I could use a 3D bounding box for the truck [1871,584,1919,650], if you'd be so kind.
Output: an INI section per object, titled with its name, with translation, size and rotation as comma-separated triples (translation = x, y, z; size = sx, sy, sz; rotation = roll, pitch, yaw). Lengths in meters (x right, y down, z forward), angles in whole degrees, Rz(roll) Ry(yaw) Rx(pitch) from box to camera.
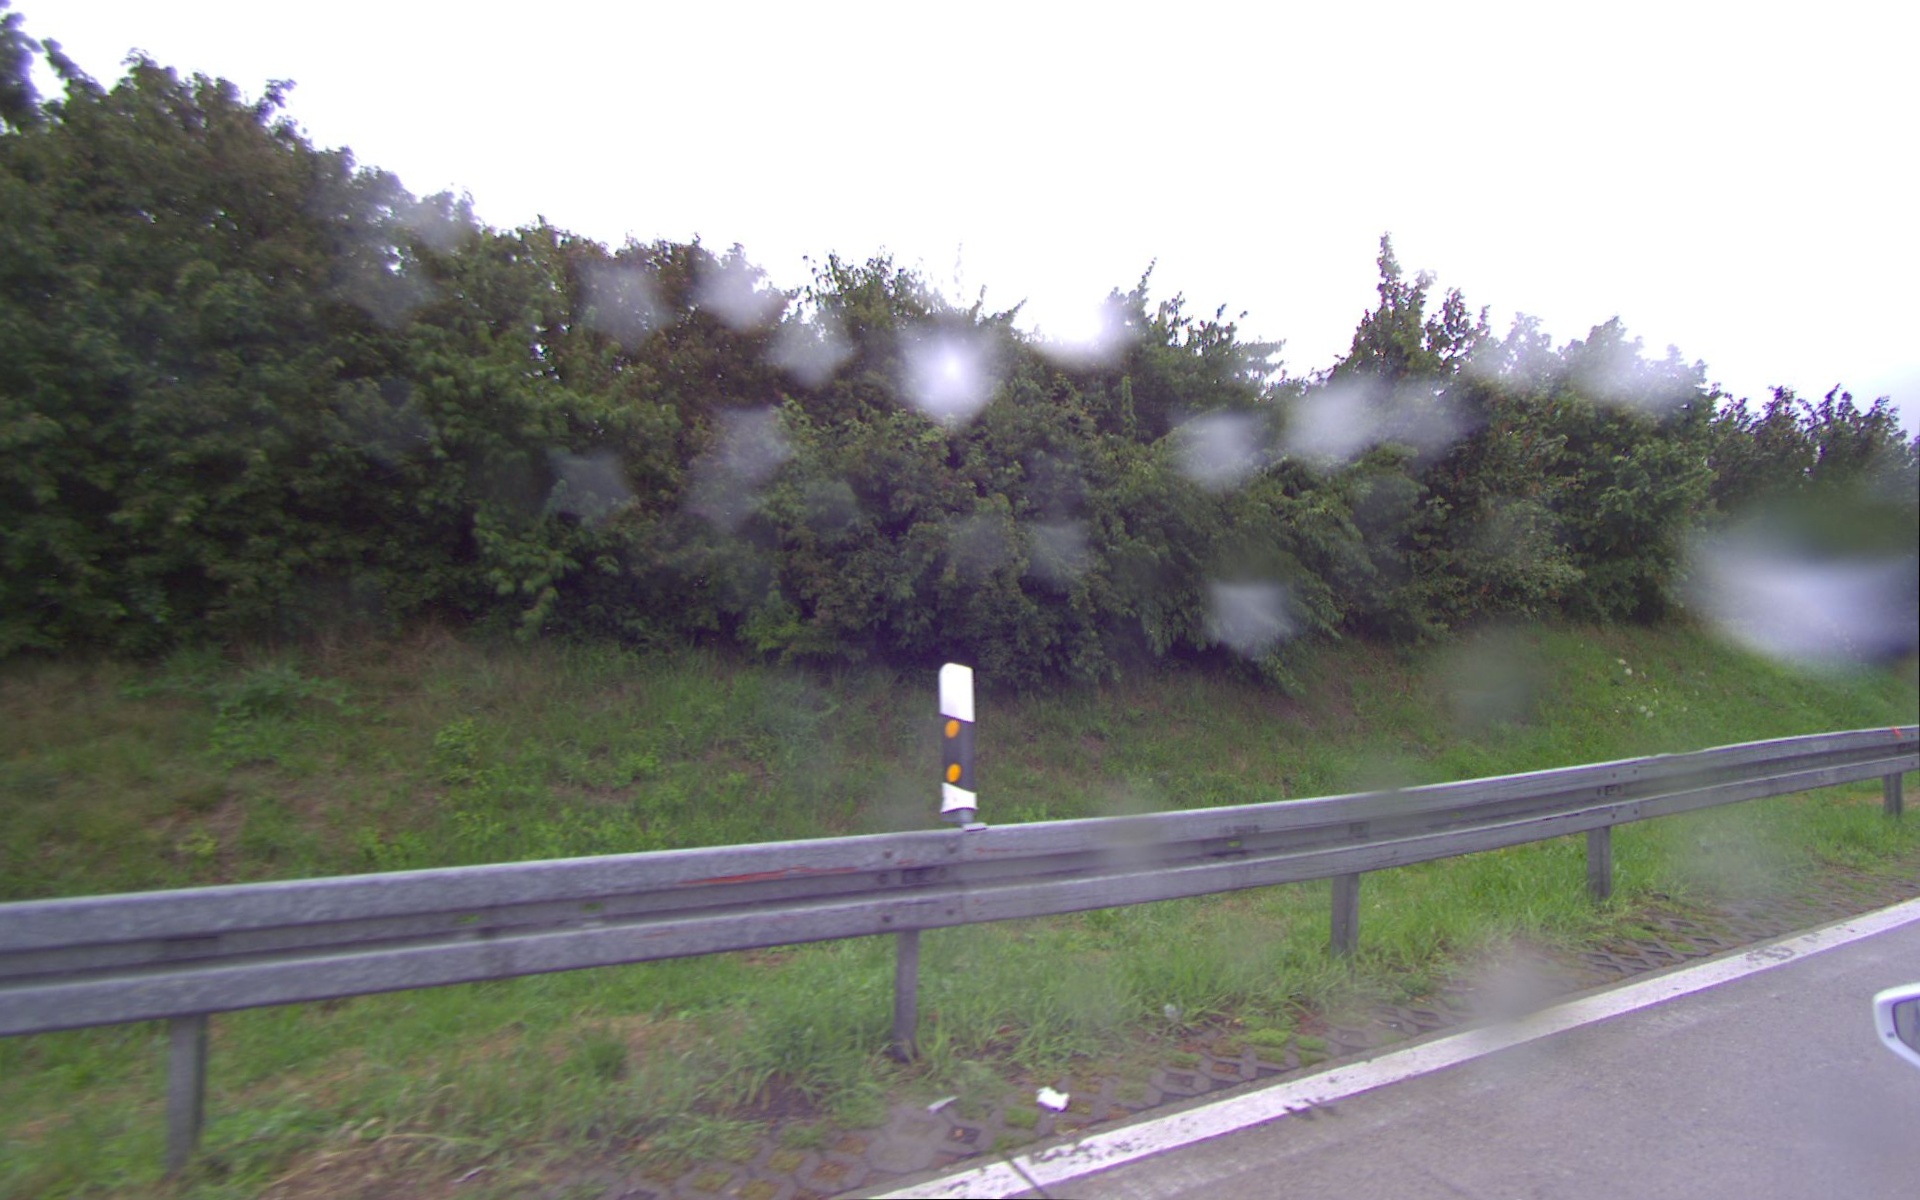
[truck]
translation = 57.737, 0.964, 59.036
size = 11.660, 3.635, 2.818
rotation = 0, -3, -31
